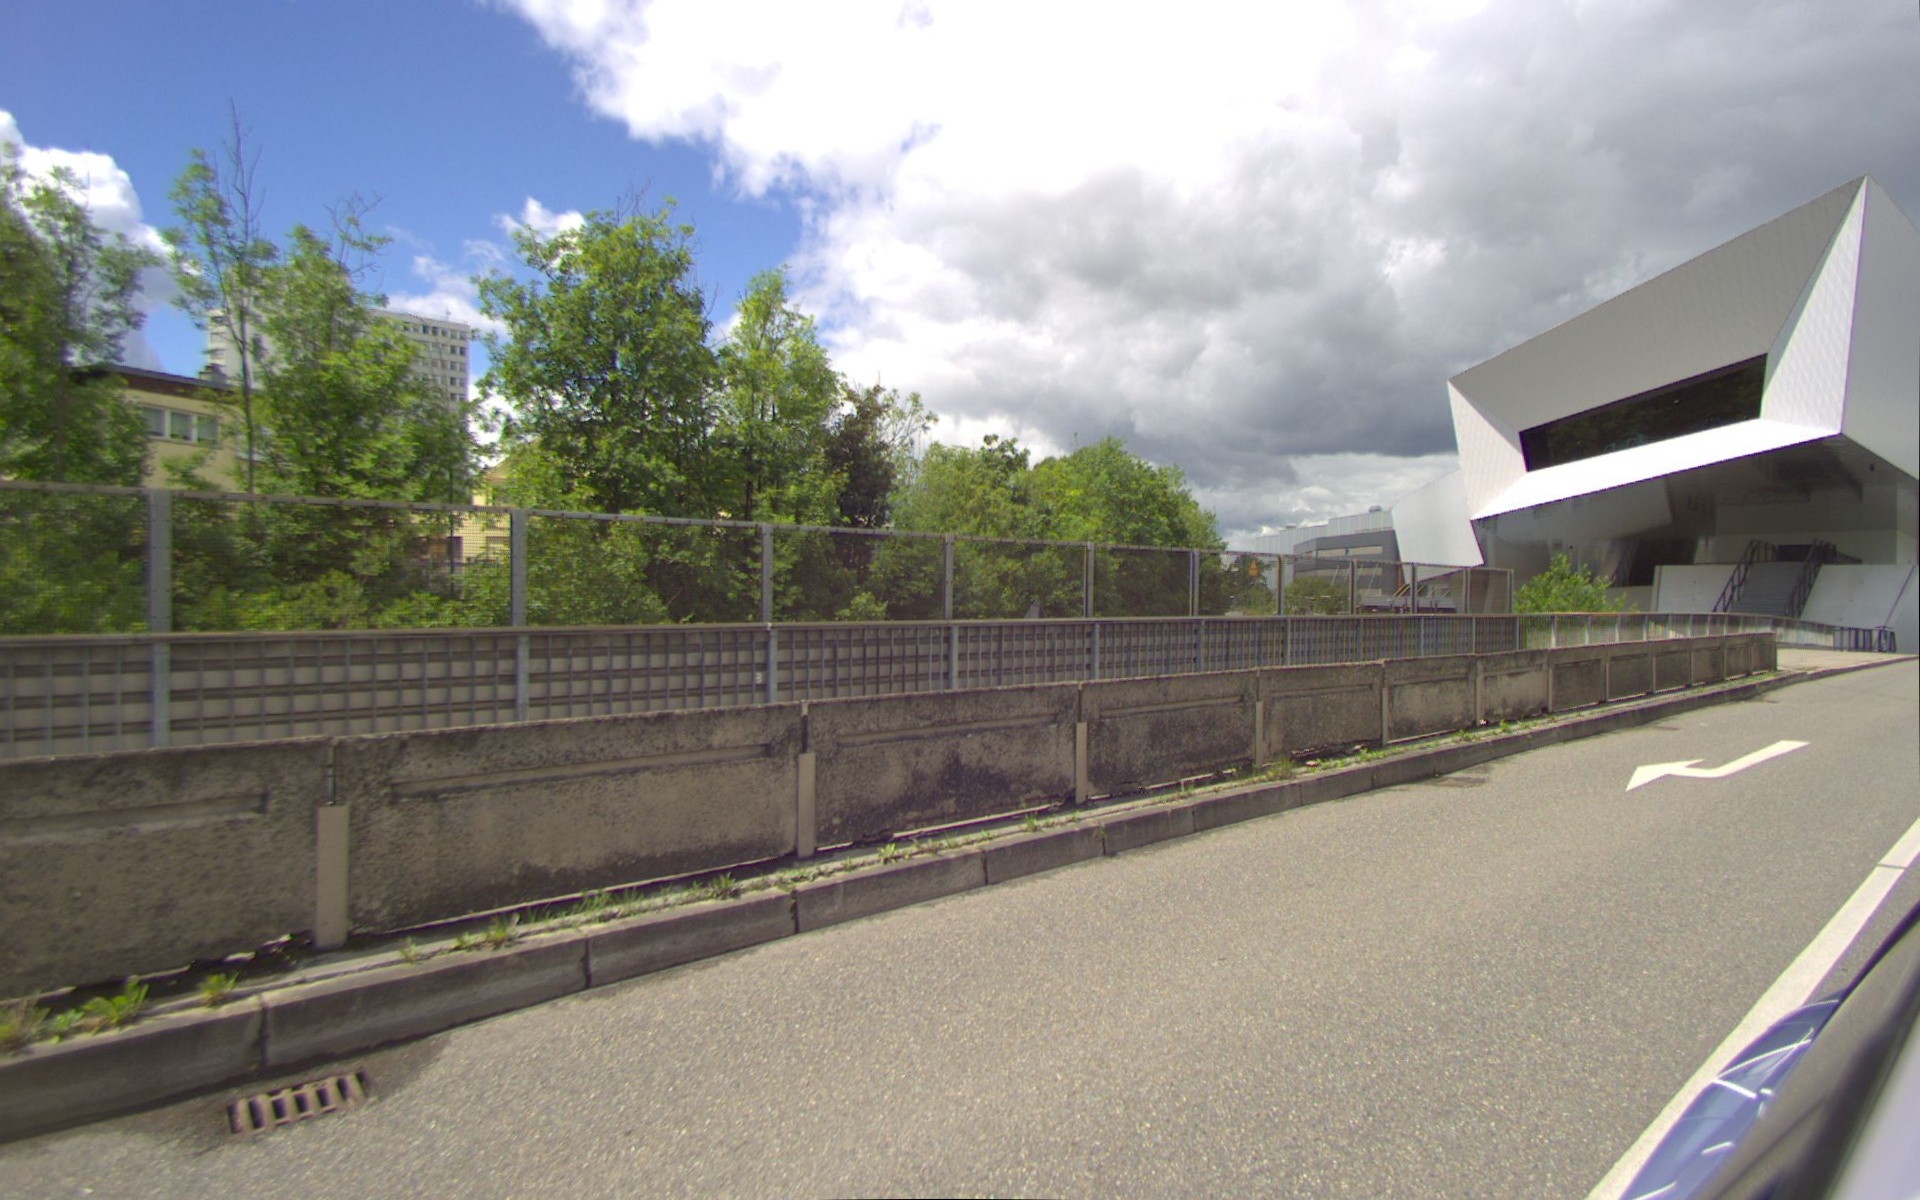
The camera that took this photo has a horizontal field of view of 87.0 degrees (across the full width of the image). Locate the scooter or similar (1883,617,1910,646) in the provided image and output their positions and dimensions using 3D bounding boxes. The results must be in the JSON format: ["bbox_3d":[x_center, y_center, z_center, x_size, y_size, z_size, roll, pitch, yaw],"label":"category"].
[{"bbox_3d":[40.651,1.367,43.917,1.824,1.229,0.654,2,0,-41],"label":"scooter or similar"}]
